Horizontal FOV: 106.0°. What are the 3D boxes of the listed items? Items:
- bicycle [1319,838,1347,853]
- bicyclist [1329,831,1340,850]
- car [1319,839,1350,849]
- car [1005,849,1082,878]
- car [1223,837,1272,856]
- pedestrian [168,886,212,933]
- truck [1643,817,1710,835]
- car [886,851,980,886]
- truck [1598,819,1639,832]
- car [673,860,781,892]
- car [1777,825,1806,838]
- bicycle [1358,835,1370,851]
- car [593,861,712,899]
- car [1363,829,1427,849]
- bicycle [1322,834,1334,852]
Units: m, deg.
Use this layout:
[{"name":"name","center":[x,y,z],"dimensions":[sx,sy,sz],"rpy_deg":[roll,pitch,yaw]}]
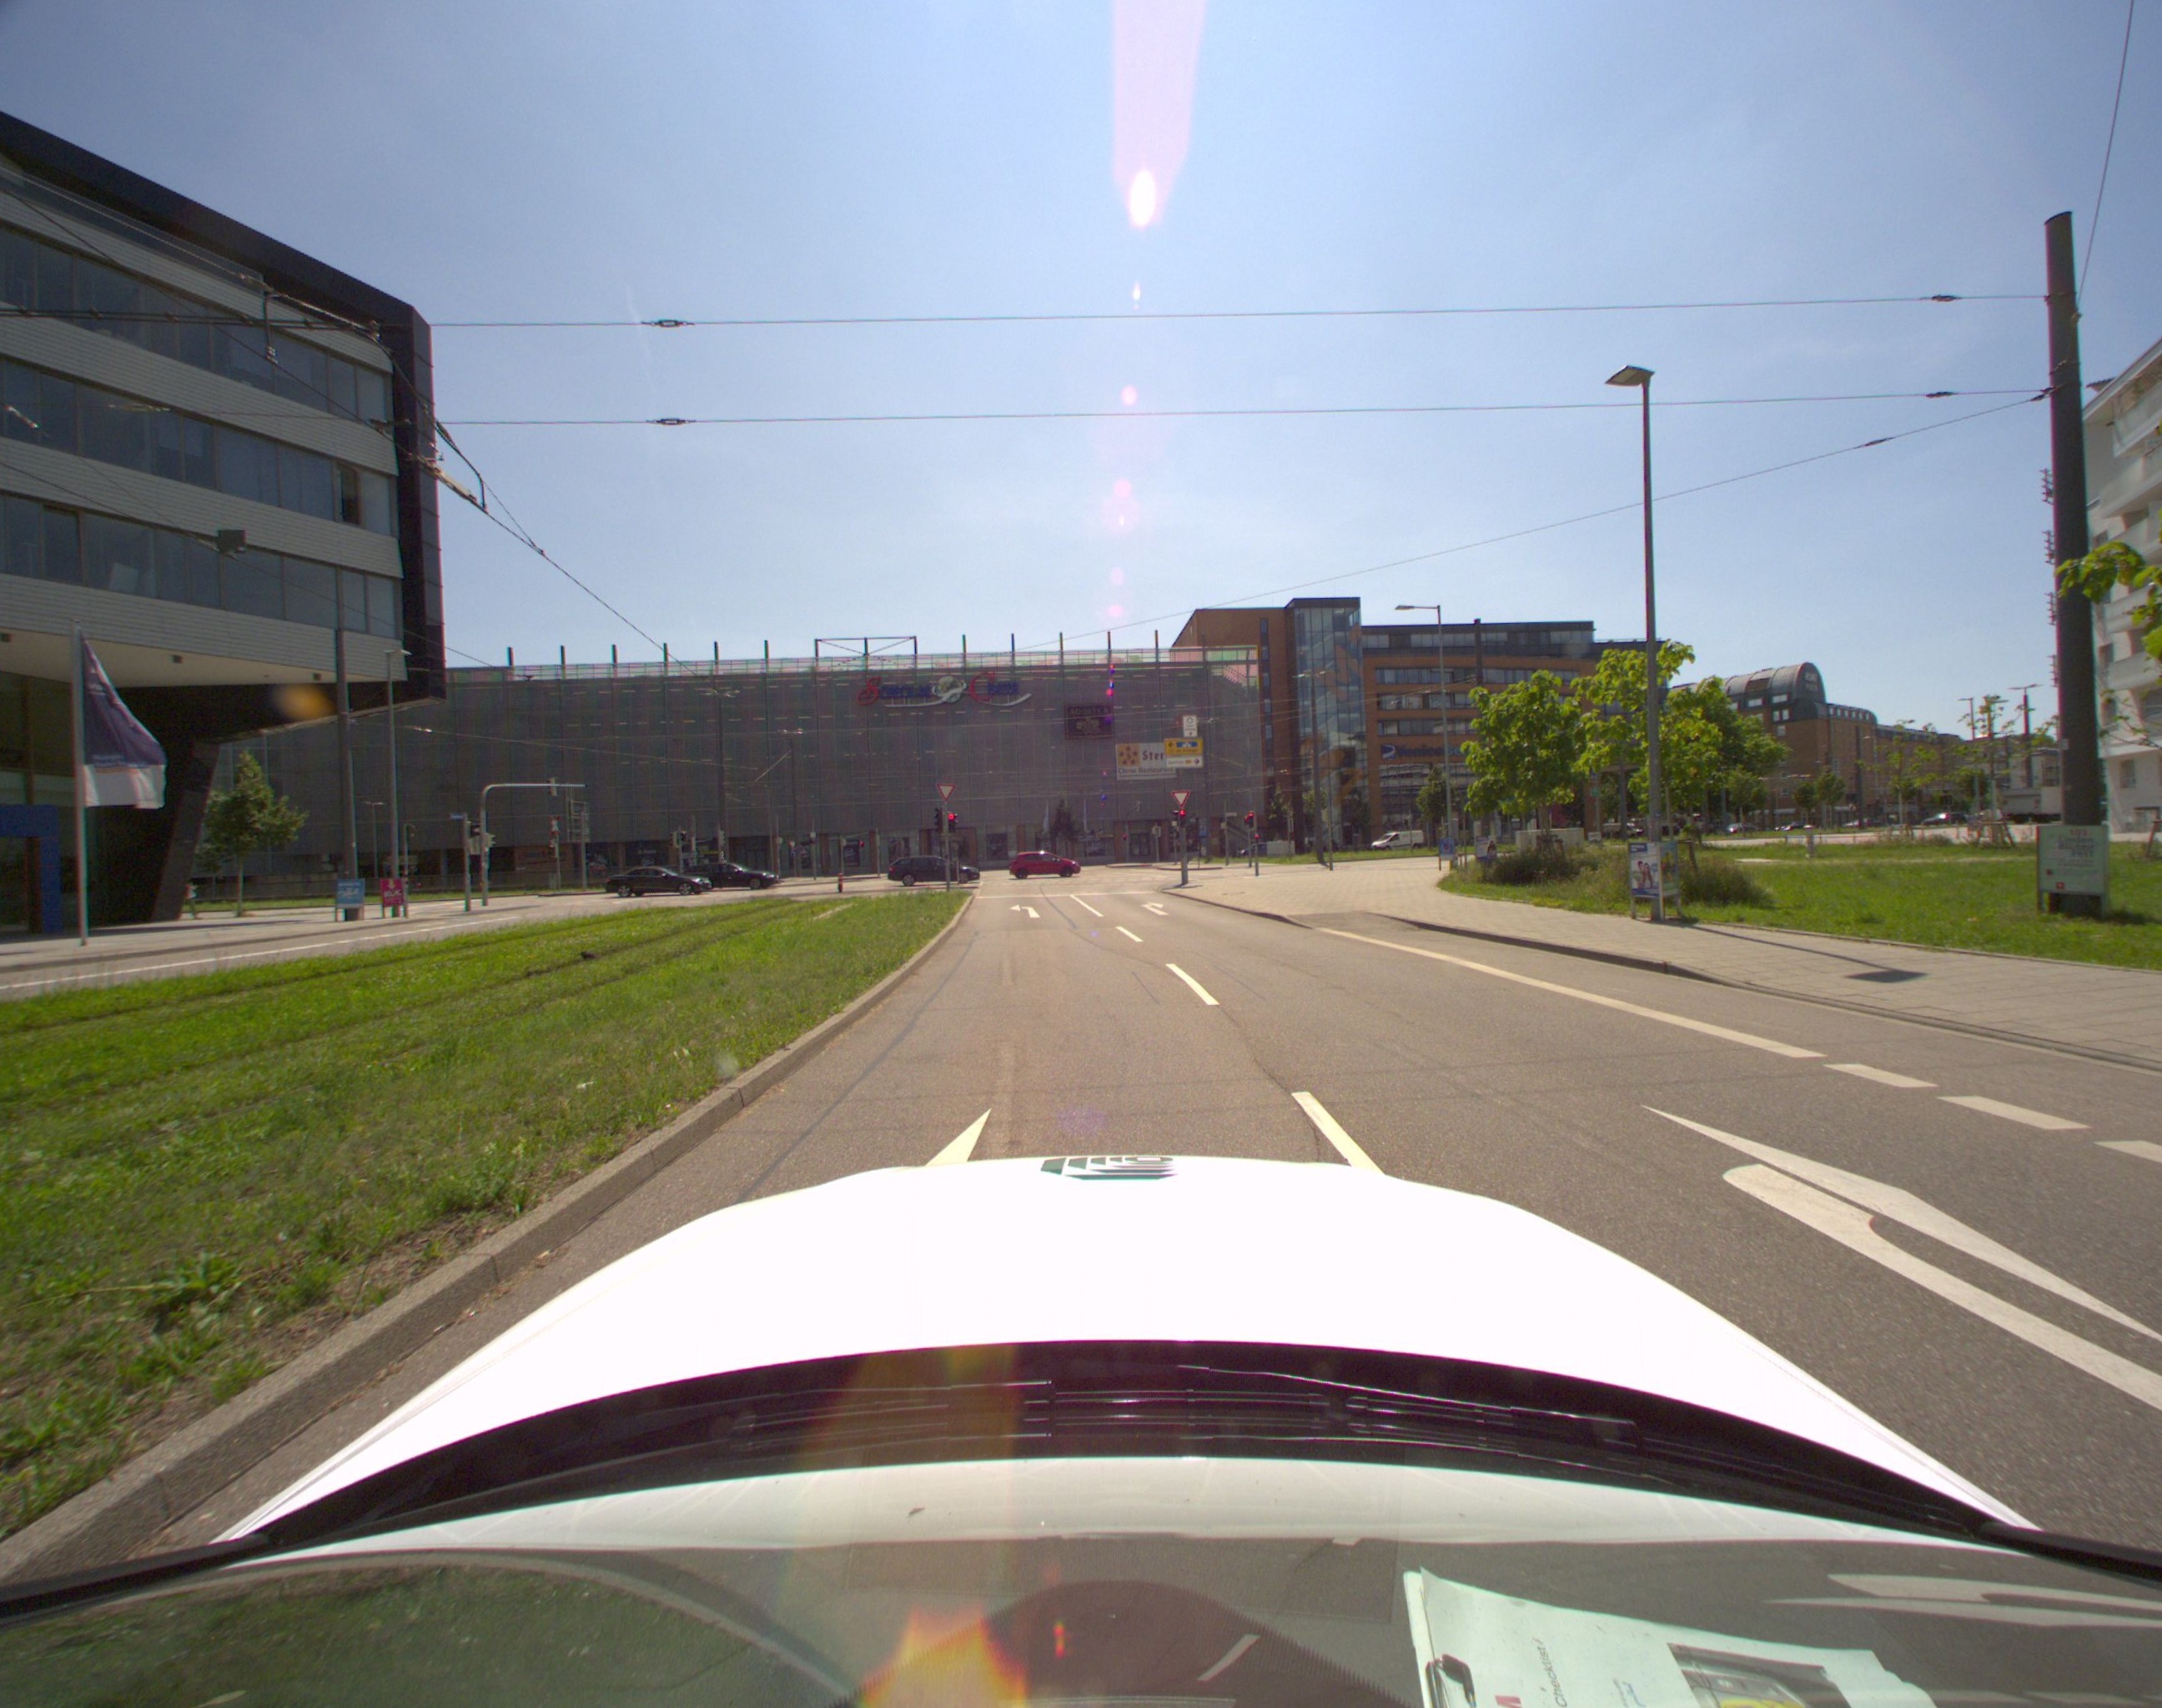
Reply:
[{"name":"bicycle","center":[27.823,-0.938,89.955],"dimensions":[2.842,1.557,0.704],"rpy_deg":[-1,1,-3]},{"name":"bicyclist","center":[28.019,-1.515,89.930],"dimensions":[0.910,2.013,0.747],"rpy_deg":[-1,0,-3]},{"name":"car","center":[27.448,-1.109,88.217],"dimensions":[2.991,1.035,1.347],"rpy_deg":[-1,1,-8]},{"name":"car","center":[-2.131,0.513,45.761],"dimensions":[4.124,1.508,1.837],"rpy_deg":[-1,1,-9]},{"name":"car","center":[15.146,-0.687,74.244],"dimensions":[3.983,1.538,1.877],"rpy_deg":[-1,1,-7]},{"name":"pedestrian","center":[-34.650,2.141,31.684],"dimensions":[0.908,1.746,0.967],"rpy_deg":[-2,1,-35]},{"name":"truck","center":[98.669,-4.618,135.157],"dimensions":[2.003,2.809,9.164],"rpy_deg":[-2,1,-25]},{"name":"car","center":[-7.526,0.722,41.394],"dimensions":[4.529,1.508,1.835],"rpy_deg":[-3,1,-12]},{"name":"truck","center":[89.123,-4.740,135.060],"dimensions":[1.888,2.013,5.330],"rpy_deg":[-2,1,-29]},{"name":"car","center":[-18.413,1.129,42.526],"dimensions":[4.761,1.460,1.883],"rpy_deg":[-1,1,-8]},{"name":"car","center":[88.716,-2.844,101.637],"dimensions":[4.015,1.530,1.667],"rpy_deg":[-2,1,-33]},{"name":"bicycle","center":[31.881,-1.200,91.832],"dimensions":[0.483,1.796,2.257],"rpy_deg":[-1,1,-2]},{"name":"car","center":[-20.258,1.217,38.667],"dimensions":[4.545,1.576,1.995],"rpy_deg":[-1,1,-8]},{"name":"car","center":[29.782,-1.417,77.300],"dimensions":[5.464,1.668,1.993],"rpy_deg":[-2,1,-10]},{"name":"bicycle","center":[27.963,-1.219,92.132],"dimensions":[0.483,2.013,2.345],"rpy_deg":[-1,1,-2]}]
